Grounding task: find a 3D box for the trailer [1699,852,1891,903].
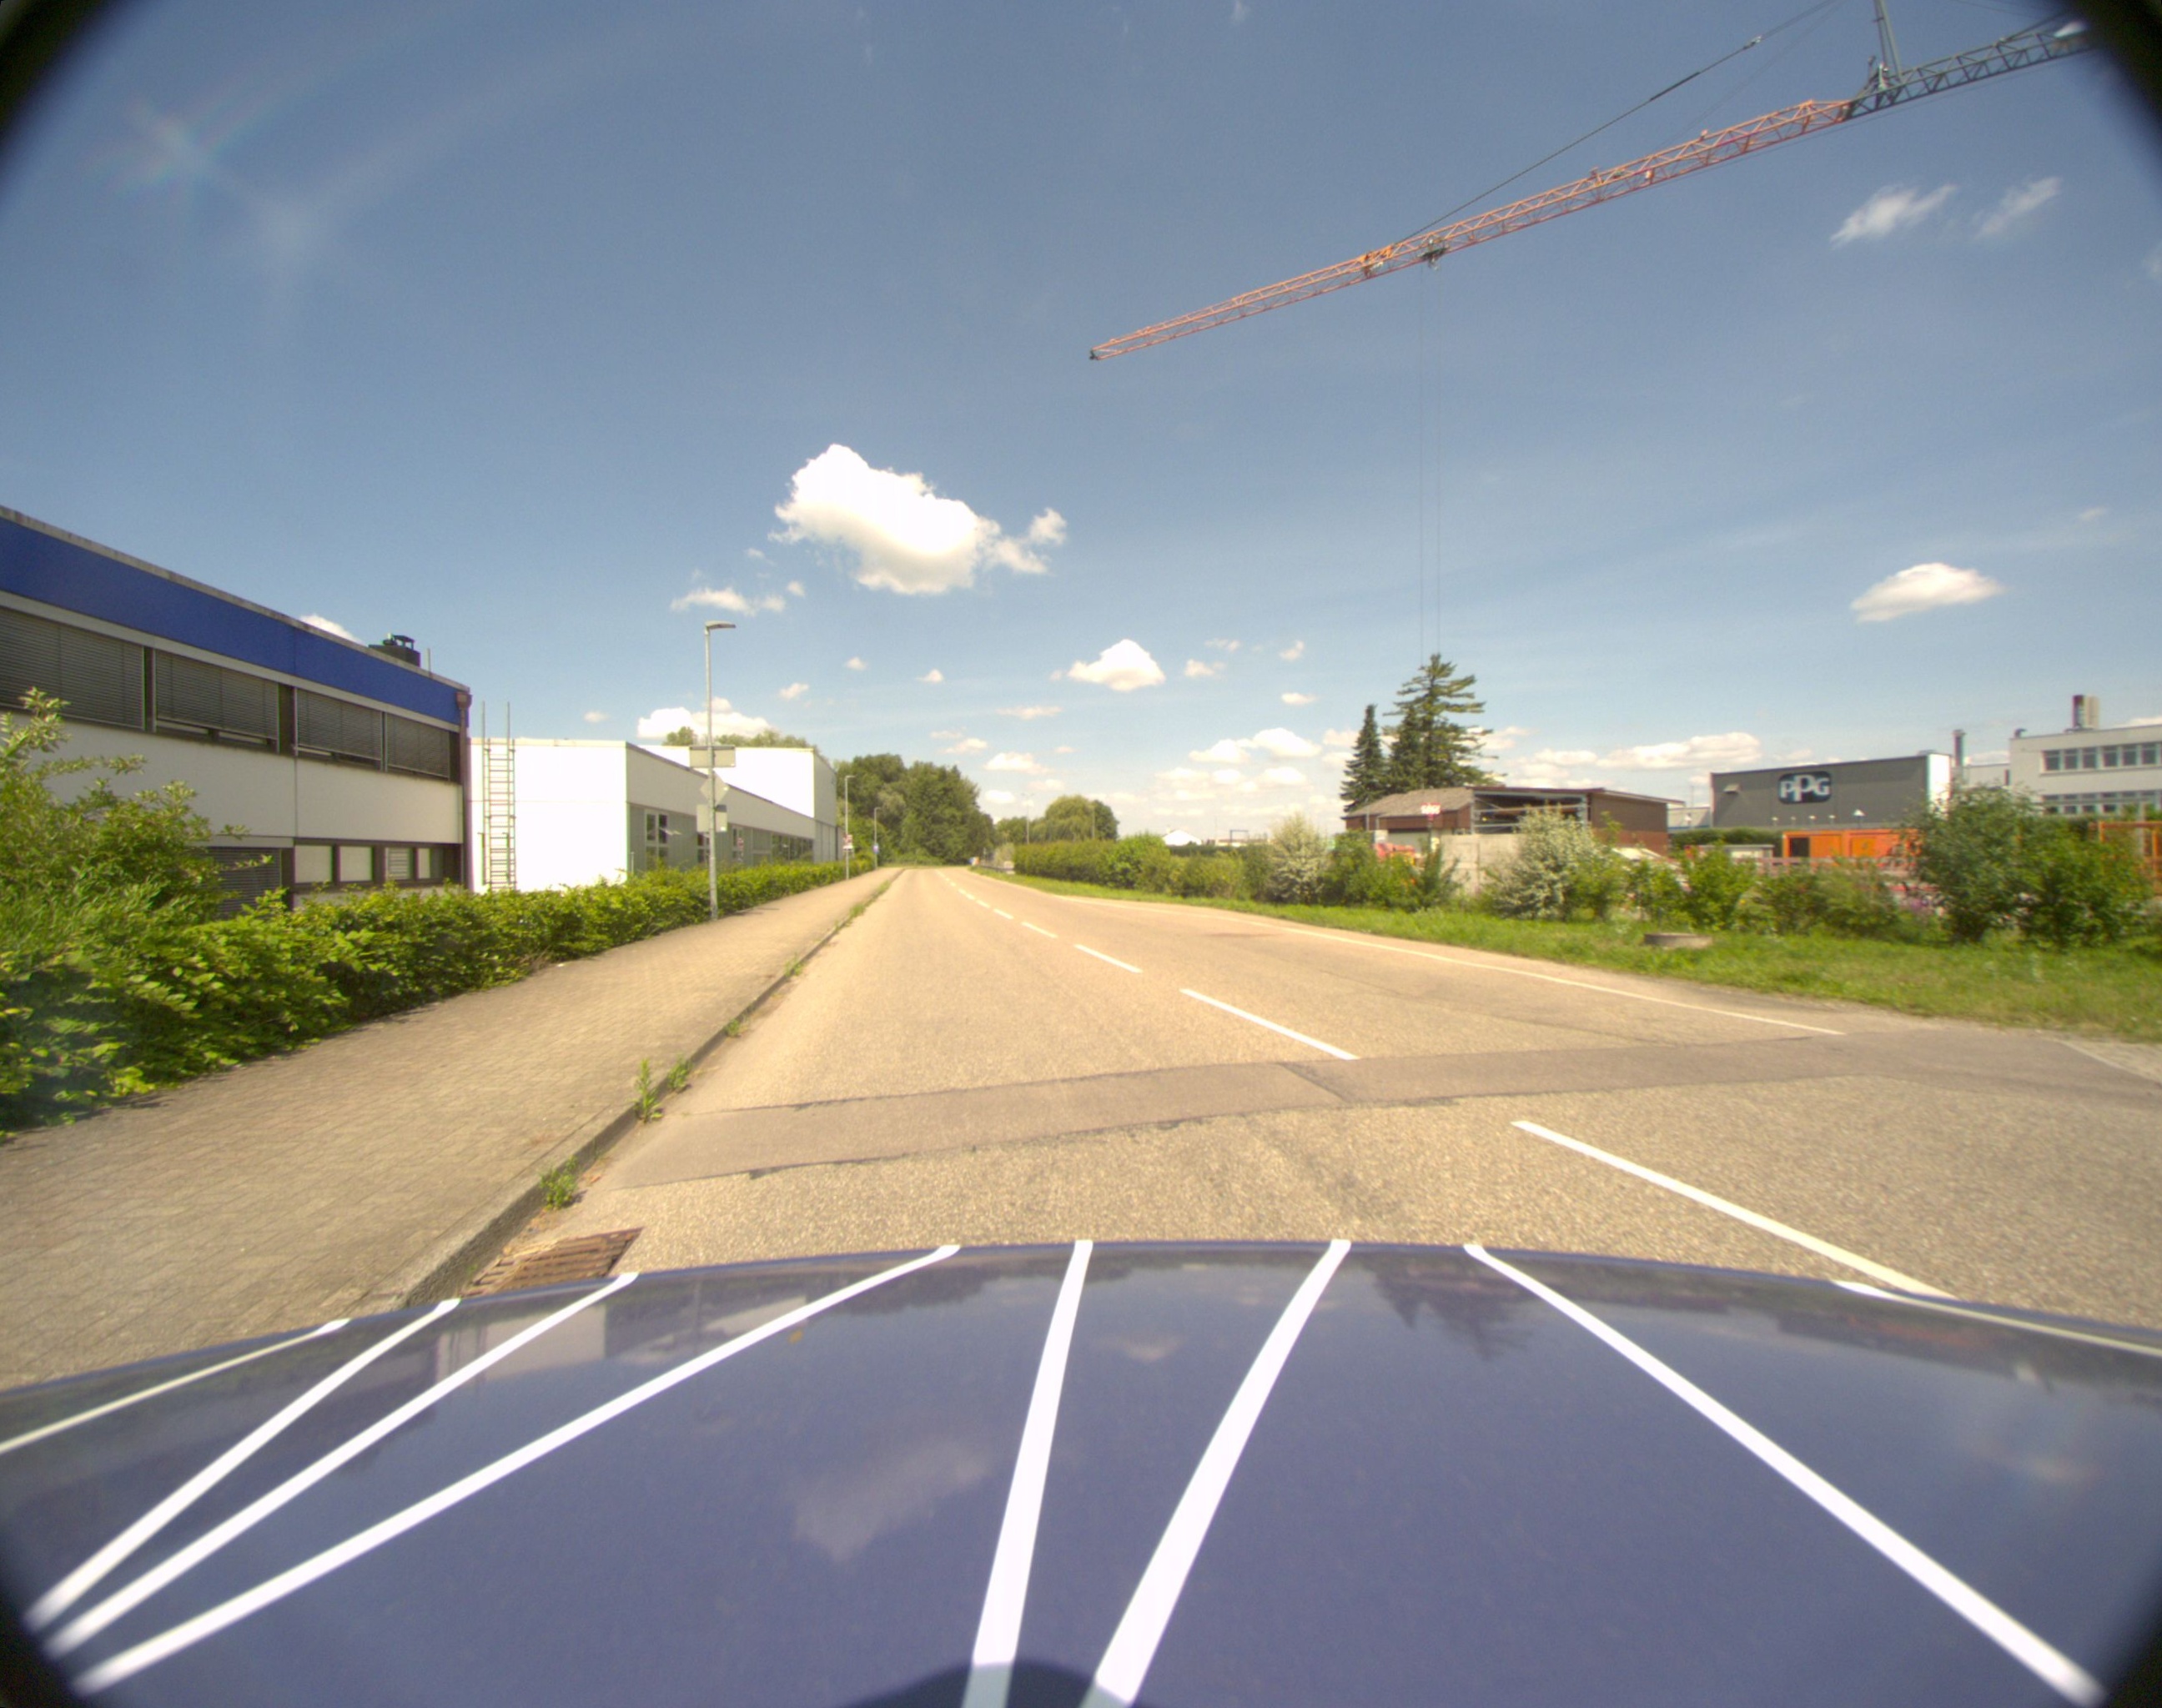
[{"bbox_3d":[28.224,0.869,30.252,1.825,1.769,5.384,-4,2,-40],"label":"trailer"}]
